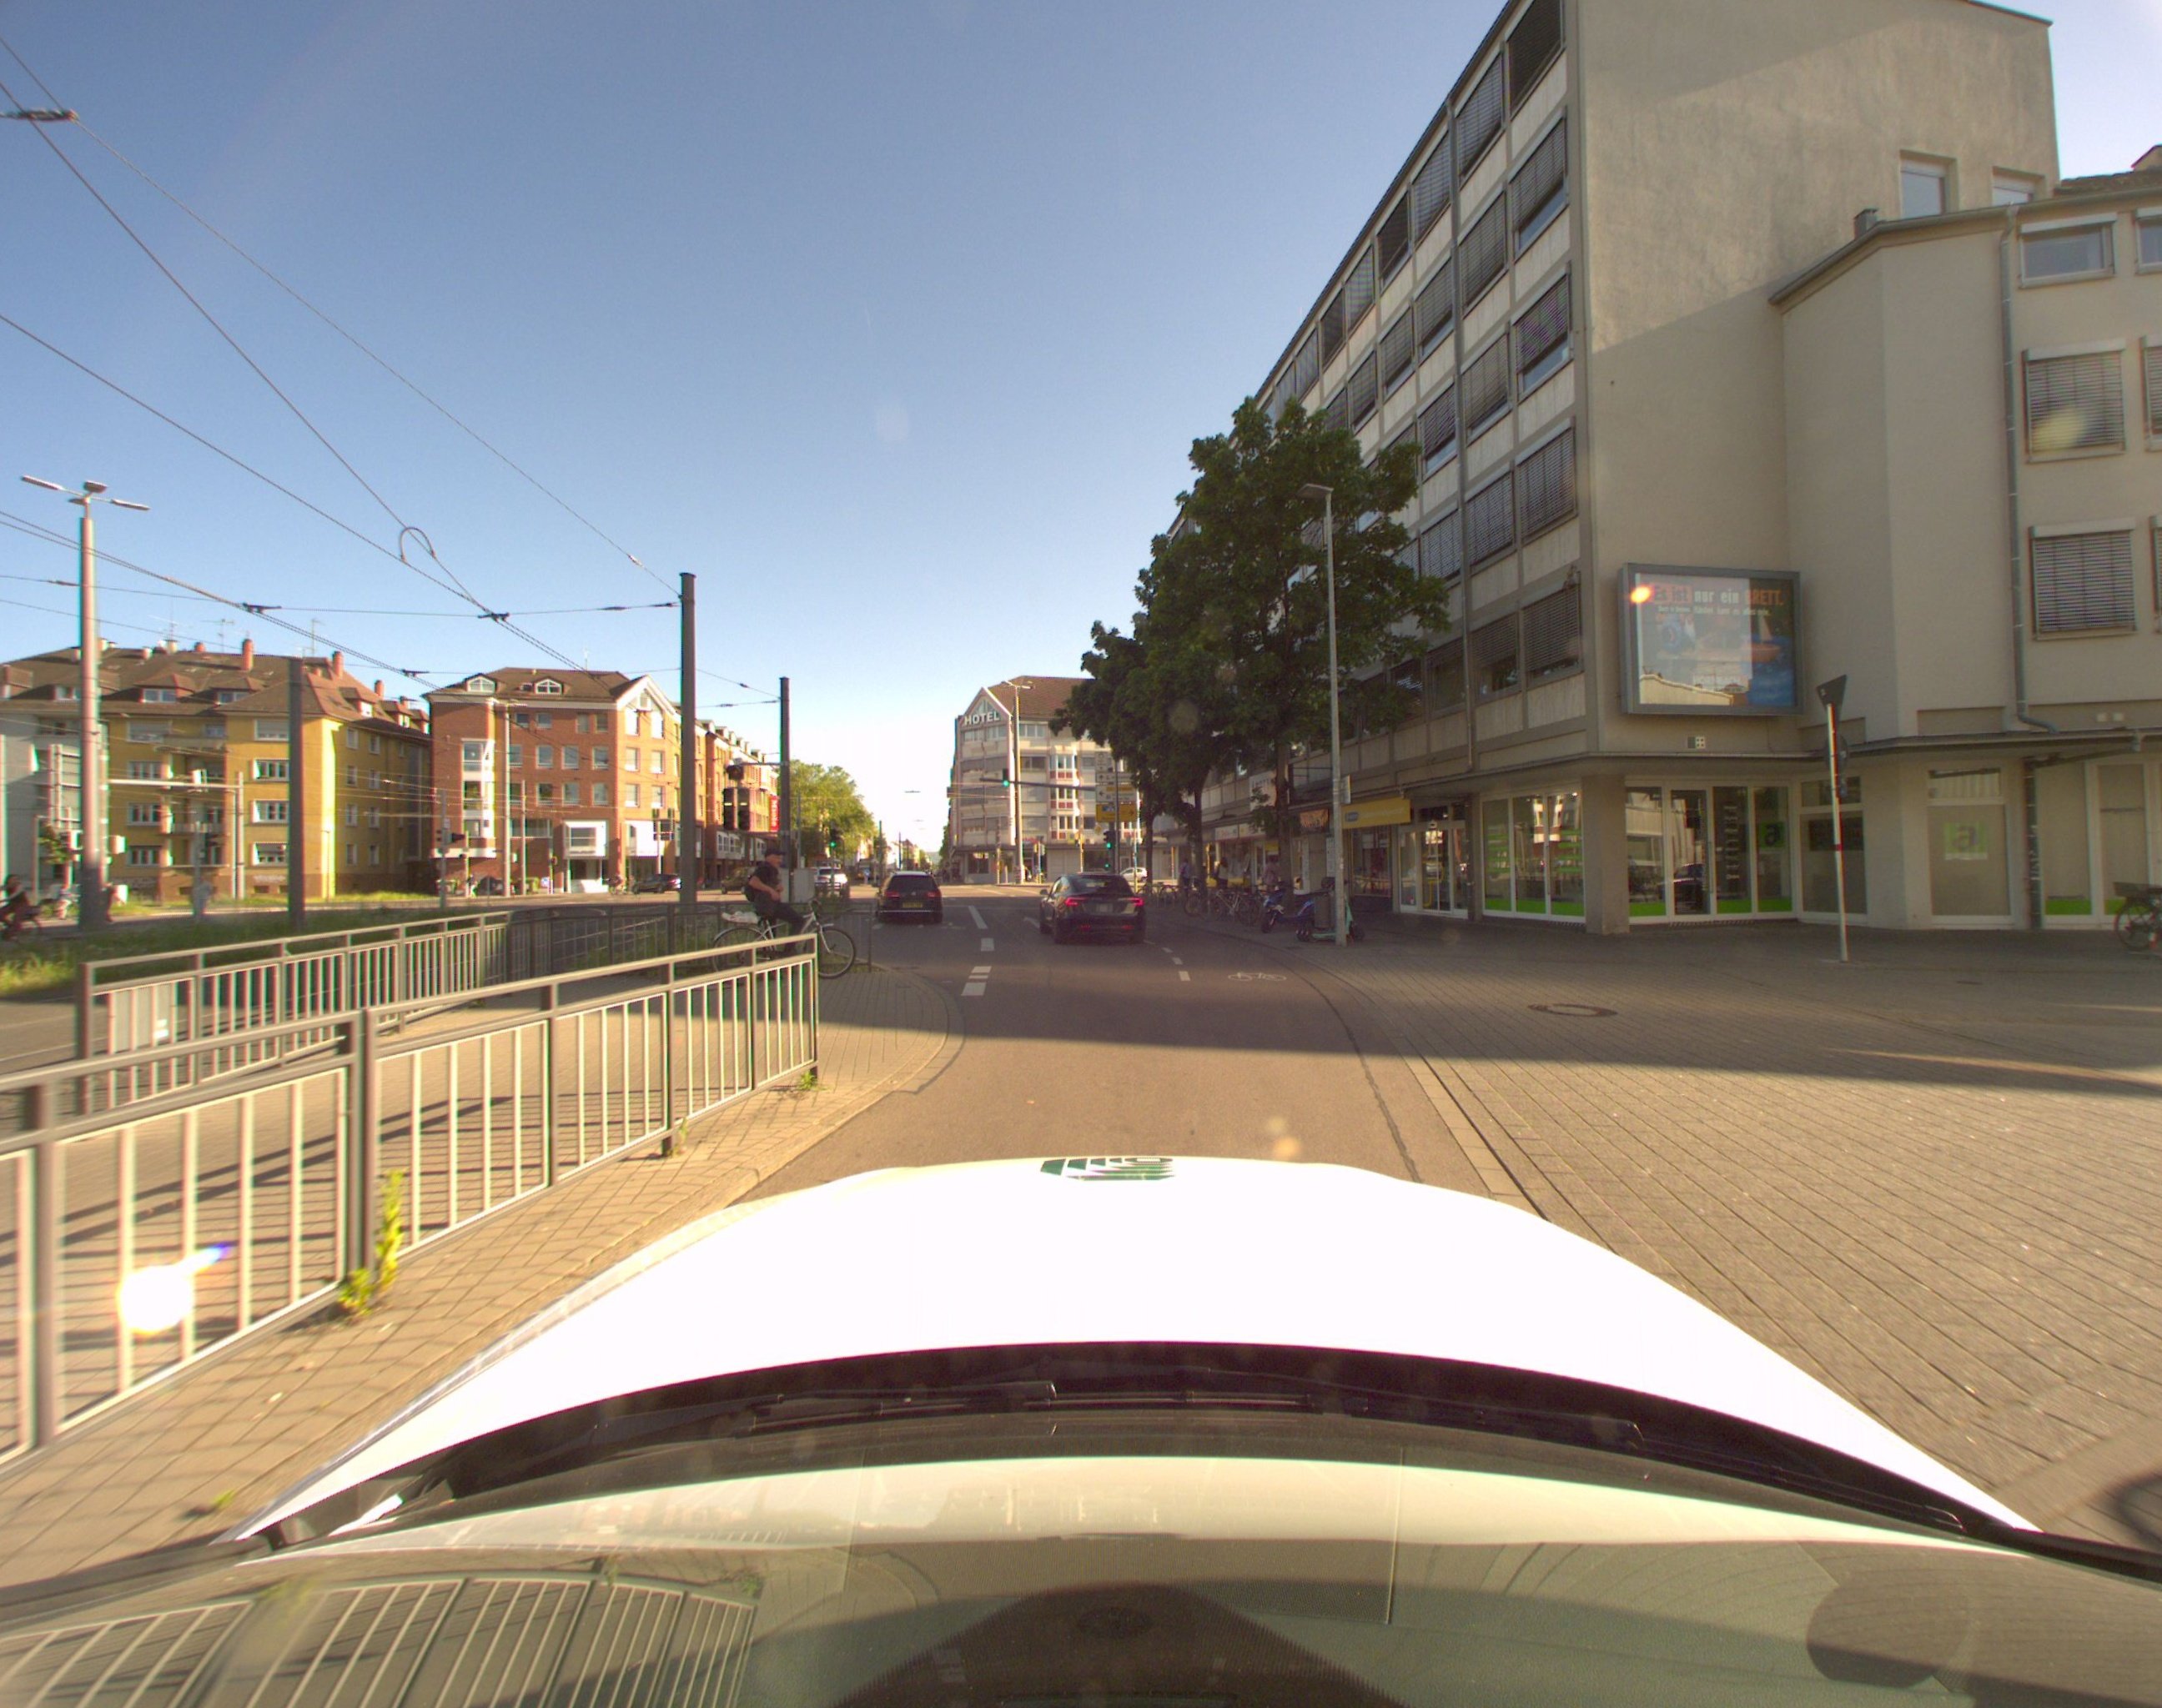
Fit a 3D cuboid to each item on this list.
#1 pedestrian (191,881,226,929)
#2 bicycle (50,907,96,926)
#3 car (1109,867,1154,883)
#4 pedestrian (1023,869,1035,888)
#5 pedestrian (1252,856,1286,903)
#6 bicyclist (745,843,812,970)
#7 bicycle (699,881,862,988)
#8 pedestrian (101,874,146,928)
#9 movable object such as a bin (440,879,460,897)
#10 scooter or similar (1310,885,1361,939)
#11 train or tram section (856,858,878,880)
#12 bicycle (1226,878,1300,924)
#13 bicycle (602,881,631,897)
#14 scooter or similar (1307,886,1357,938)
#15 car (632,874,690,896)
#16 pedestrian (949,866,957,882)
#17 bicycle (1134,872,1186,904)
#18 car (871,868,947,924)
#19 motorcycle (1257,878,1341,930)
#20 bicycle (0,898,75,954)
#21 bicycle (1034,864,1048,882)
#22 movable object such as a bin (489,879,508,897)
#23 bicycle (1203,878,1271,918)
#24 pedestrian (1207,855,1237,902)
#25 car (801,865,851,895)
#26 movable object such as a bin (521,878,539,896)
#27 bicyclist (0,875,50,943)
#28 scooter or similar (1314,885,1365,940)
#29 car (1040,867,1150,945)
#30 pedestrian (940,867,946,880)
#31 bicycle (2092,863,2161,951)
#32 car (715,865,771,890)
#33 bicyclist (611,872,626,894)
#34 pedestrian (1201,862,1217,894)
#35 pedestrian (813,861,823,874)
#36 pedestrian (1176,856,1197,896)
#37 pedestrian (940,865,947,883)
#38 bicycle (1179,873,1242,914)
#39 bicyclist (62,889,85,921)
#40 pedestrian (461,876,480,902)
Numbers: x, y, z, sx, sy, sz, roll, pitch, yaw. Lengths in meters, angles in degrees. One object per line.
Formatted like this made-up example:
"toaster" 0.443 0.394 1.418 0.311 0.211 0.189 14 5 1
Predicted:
"pedestrian" -32.406 1.882 30.263 0.626 1.688 0.701 0 0 -20
"bicycle" -42.315 2.614 34.191 1.177 0.764 0.317 0 -2 -24
"car" 4.729 1.971 76.105 3.845 1.432 1.795 -1 -3 -13
"pedestrian" -4.390 2.077 69.112 0.782 1.576 0.861 0 0 -23
"pedestrian" 6.505 0.873 28.196 0.842 1.602 0.877 -1 -2 -8
"bicyclist" -3.802 0.637 10.218 0.685 1.523 0.628 0 -2 -32
"bicycle" -3.756 0.960 10.230 1.832 1.212 0.635 0 -2 -32
"pedestrian" -35.027 1.693 29.795 0.718 1.934 0.801 -1 -2 13
"movable object such as a bin" -52.735 2.812 68.063 0.998 1.437 1.090 0 -2 -17
"scooter or similar" 5.103 1.160 16.332 0.955 1.039 0.159 -1 -1 -5
"train or tram section" -35.359 2.476 134.827 2.729 3.543 10.051 -1 -1 -10
"bicycle" 4.594 1.171 20.532 1.856 1.056 0.397 -2 -1 -19
"bicycle" -37.295 2.804 65.409 2.026 1.223 0.629 -1 -2 1
"scooter or similar" 5.089 1.174 16.521 0.962 1.027 0.159 -1 -1 -5
"car" -30.417 2.226 59.067 3.437 1.551 1.738 -1 -1 15
"pedestrian" -14.241 2.255 90.604 0.914 1.755 0.837 -1 -2 -9
"bicycle" 3.060 1.315 31.582 1.888 1.156 0.479 -3 -1 -8
"car" -5.124 1.143 23.893 1.769 1.444 4.502 -1 -1 -17
"motorcycle" 4.946 1.127 18.496 1.786 1.130 0.502 -1 -2 -9
"bicycle" -26.295 1.759 20.172 0.574 1.291 2.018 0 -1 -12
"bicycle" -3.429 1.612 69.836 0.585 1.463 1.673 -1 -1 -23
"movable object such as a bin" -49.351 2.868 68.949 0.998 1.437 1.090 0 -2 -17
"bicycle" 4.300 1.204 22.504 1.763 1.057 0.457 -1 -2 -3
"pedestrian" 5.211 0.916 30.175 0.842 1.707 0.877 -1 -2 -8
"car" -14.772 1.500 47.074 1.853 1.635 3.448 0 -2 -34
"movable object such as a bin" -47.055 2.822 69.577 0.998 1.437 1.090 0 -2 -17
"bicyclist" -26.283 1.352 20.118 0.589 1.649 0.803 0 -2 -12
"scooter or similar" 5.119 1.148 16.135 0.962 1.043 0.159 -1 -1 -5
"car" 0.173 1.022 17.660 1.789 1.451 3.928 -1 -1 -8
"pedestrian" -15.779 2.240 93.366 0.475 1.563 0.539 0 -2 -37
"bicycle" 15.199 0.751 11.401 0.438 1.160 1.507 -1 2 12
"car" -22.232 1.545 53.552 3.734 1.618 1.588 -2 -2 34
"bicyclist" -37.111 2.344 65.402 0.824 1.772 0.615 -1 -2 2
"pedestrian" 5.676 1.070 36.173 0.640 1.422 0.623 -1 -2 12
"pedestrian" -33.258 1.726 102.991 1.108 1.625 0.842 0 -2 -18
"pedestrian" 4.725 0.981 36.473 0.839 1.721 0.881 -1 -2 5
"pedestrian" -13.794 1.998 81.783 0.627 1.782 0.914 0 -2 -12
"bicycle" 3.888 1.183 24.497 1.811 1.151 0.433 -2 -1 -12
"bicyclist" -42.319 2.122 34.211 0.460 1.316 0.397 0 -2 -24
"pedestrian" -40.441 2.308 53.948 0.696 1.710 0.925 0 -2 -14
